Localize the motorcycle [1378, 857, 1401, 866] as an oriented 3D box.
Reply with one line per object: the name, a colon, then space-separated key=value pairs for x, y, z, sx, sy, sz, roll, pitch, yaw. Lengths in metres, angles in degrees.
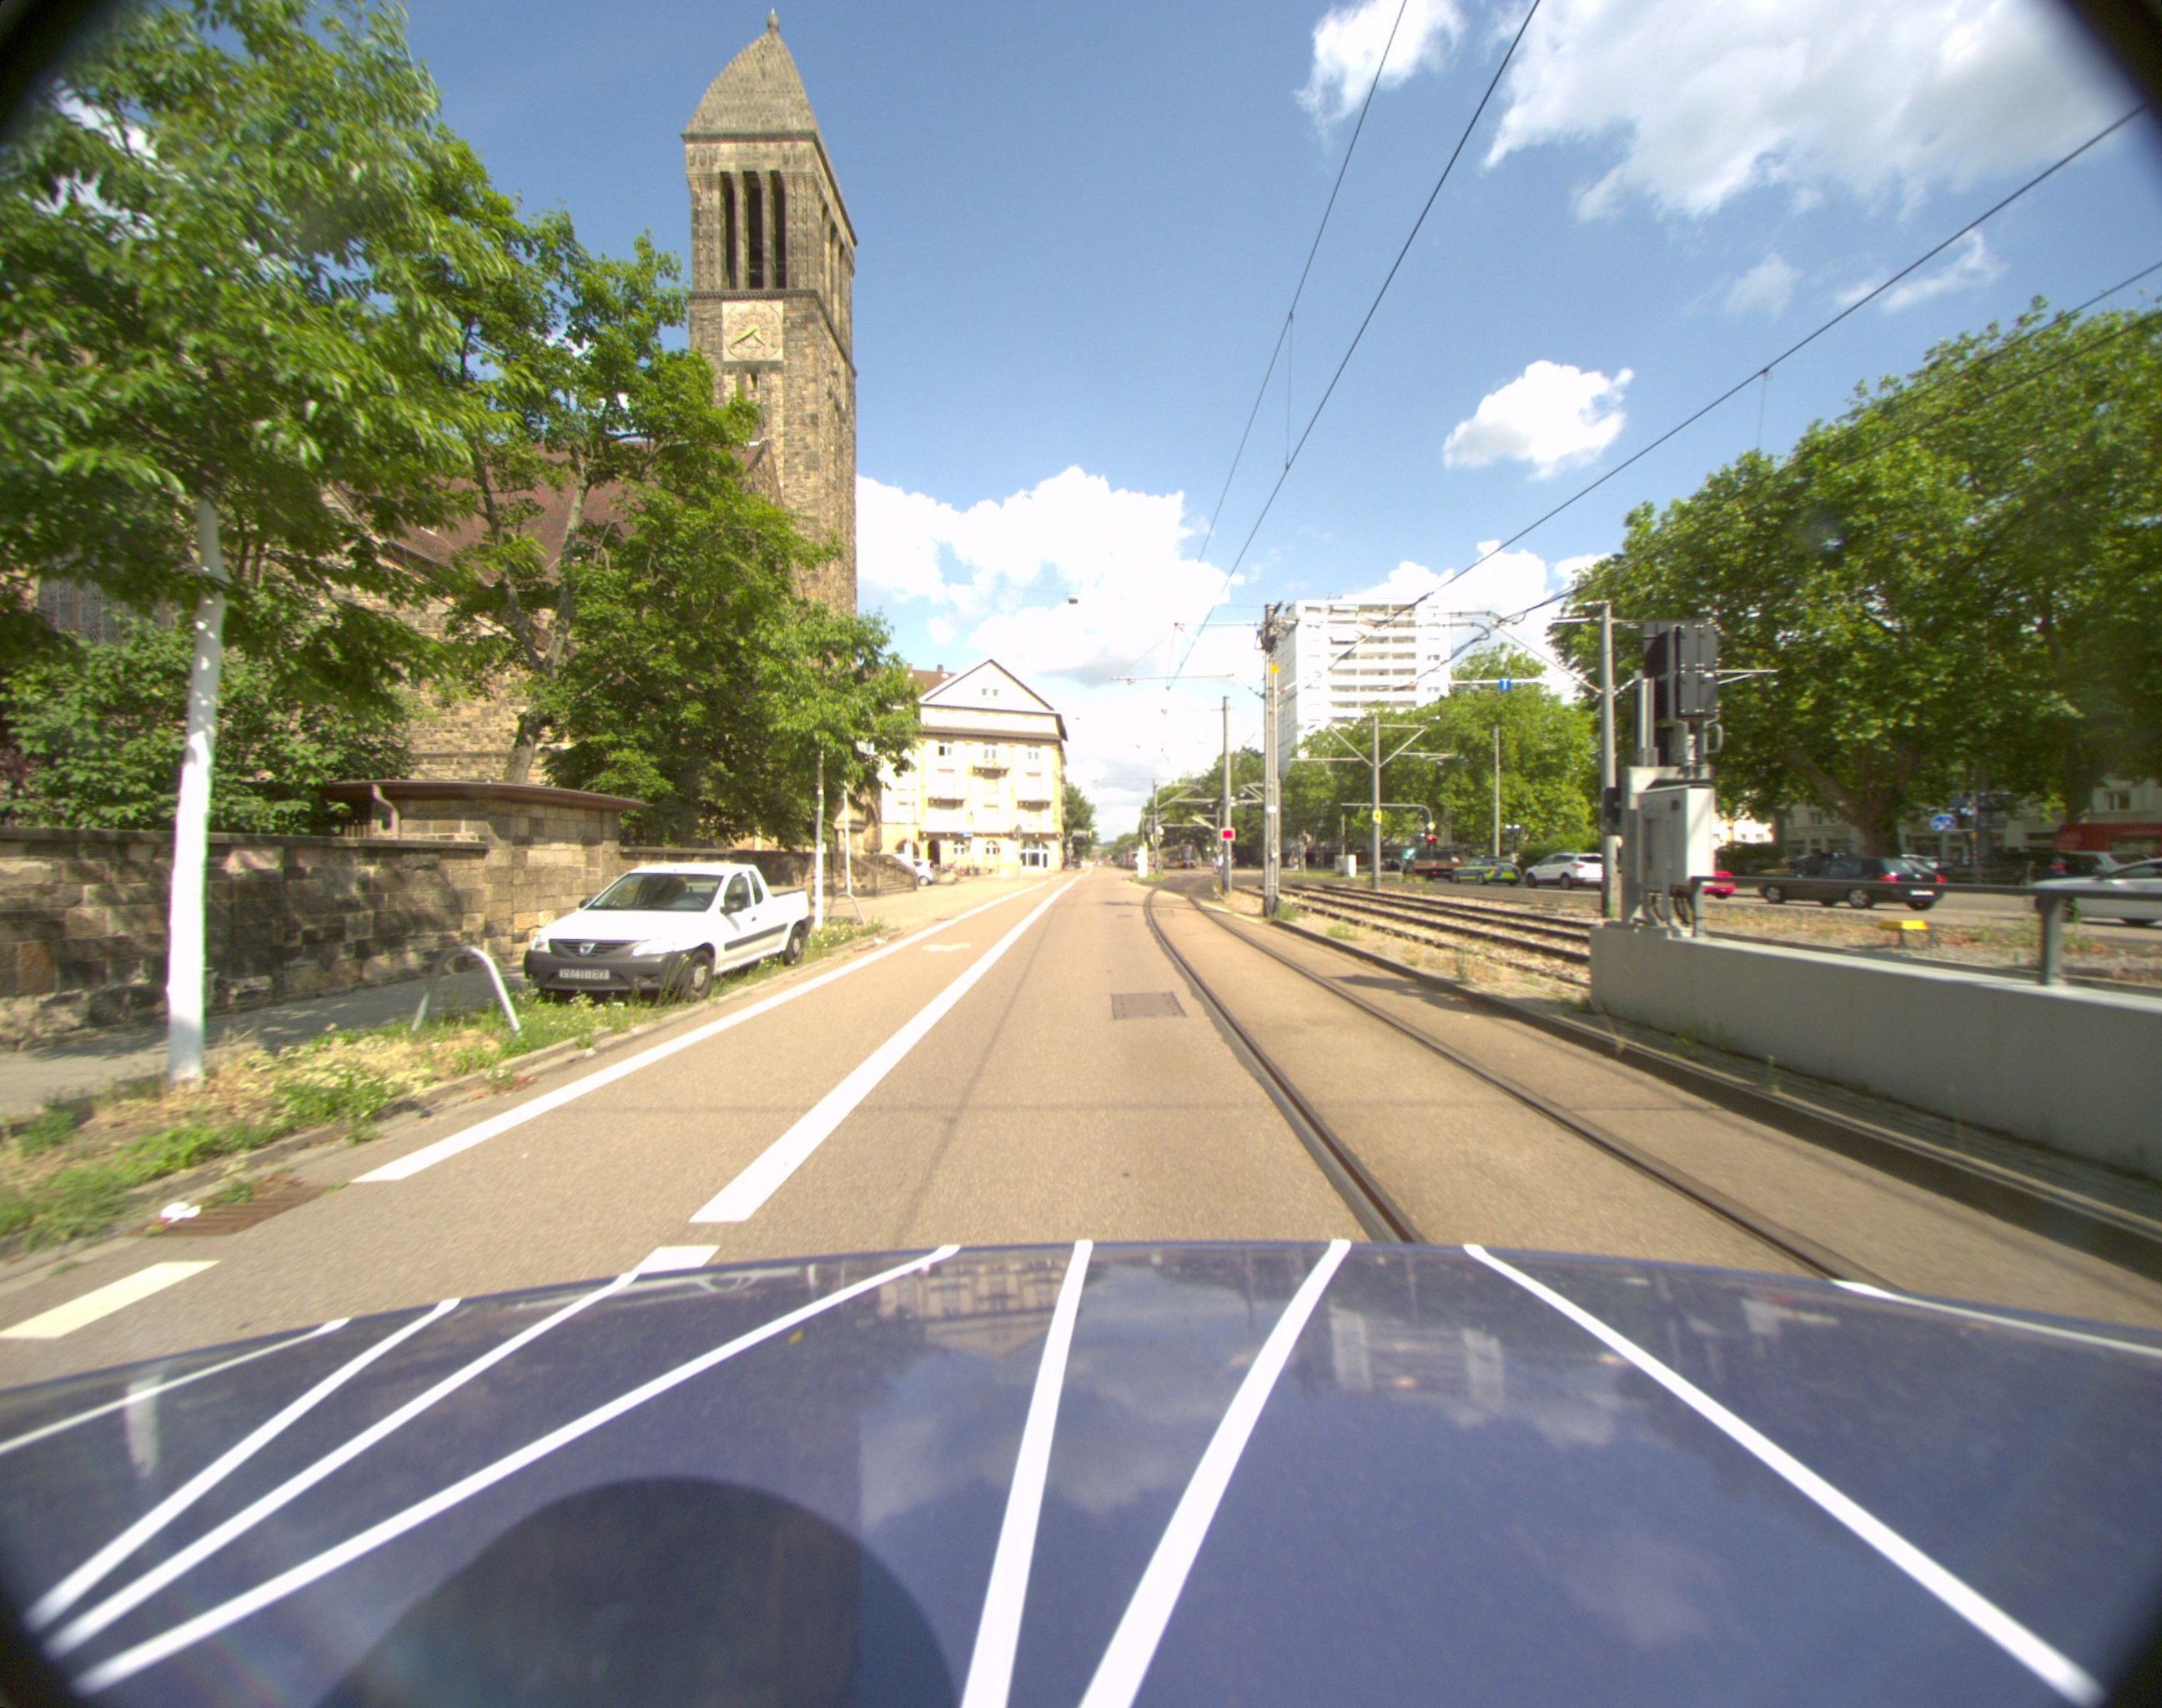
motorcycle: x=35.723 y=0.842 z=87.973 sx=2.506 sy=0.971 sz=0.698 roll=-1 pitch=0 yaw=-13

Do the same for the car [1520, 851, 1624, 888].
car: x=22.286 y=0.739 z=34.735 sx=1.764 sy=1.597 sz=4.681 roll=0 pitch=-2 yaw=1

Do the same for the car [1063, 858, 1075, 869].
car: x=-1.972 y=1.577 z=125.709 sx=1.851 sy=1.779 sz=4.000 roll=2 pitch=0 yaw=0

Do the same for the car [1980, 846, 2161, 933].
car: x=21.336 y=0.679 z=14.685 sx=1.952 sy=1.597 sz=5.075 roll=0 pitch=1 yaw=1

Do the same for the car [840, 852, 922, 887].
car: x=-11.007 y=0.852 z=42.035 sx=4.013 sy=1.813 sz=1.863 roll=-1 pitch=0 yaw=-1

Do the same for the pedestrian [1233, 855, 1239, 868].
pedestrian: x=20.141 y=0.922 z=98.990 sx=0.671 sy=1.693 sz=0.648 roll=-1 pitch=0 yaw=4

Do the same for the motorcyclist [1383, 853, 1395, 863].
motorcyclist: x=35.665 y=0.450 z=87.950 sx=0.978 sy=1.210 sz=0.698 roll=-1 pitch=0 yaw=-13

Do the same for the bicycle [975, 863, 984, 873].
bicycle: x=-10.610 y=1.452 z=79.204 sx=0.602 sy=1.013 sz=1.877 roll=0 pitch=2 yaw=2

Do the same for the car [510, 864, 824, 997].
car: x=-5.260 y=0.882 z=10.318 sx=1.671 sy=1.408 sz=3.847 roll=-2 pitch=-1 yaw=10

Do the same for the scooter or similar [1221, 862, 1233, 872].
scooter or similar: x=11.474 y=1.031 z=59.609 sx=0.840 sy=0.799 sz=0.553 roll=-1 pitch=0 yaw=-3

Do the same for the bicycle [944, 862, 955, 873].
bicycle: x=-13.523 y=1.418 z=78.175 sx=0.541 sy=1.013 sz=1.923 roll=-1 pitch=3 yaw=-28

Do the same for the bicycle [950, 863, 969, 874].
bicycle: x=-12.320 y=1.499 z=77.079 sx=1.932 sy=1.013 sz=0.538 roll=-1 pitch=3 yaw=-40

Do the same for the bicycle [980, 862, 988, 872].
bicycle: x=-10.335 y=1.390 z=80.821 sx=0.610 sy=1.013 sz=1.874 roll=0 pitch=2 yaw=-15

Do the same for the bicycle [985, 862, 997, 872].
bicycle: x=-9.587 y=1.389 z=81.075 sx=0.611 sy=1.013 sz=1.872 roll=-1 pitch=2 yaw=-27

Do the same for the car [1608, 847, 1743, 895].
car: x=21.555 y=0.642 z=27.784 sx=1.716 sy=1.597 sz=4.145 roll=0 pitch=-2 yaw=1

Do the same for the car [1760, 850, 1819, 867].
car: x=69.214 y=0.444 z=74.235 sx=4.081 sy=1.650 sz=1.851 roll=-1 pitch=0 yaw=-2

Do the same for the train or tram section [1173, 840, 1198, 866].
train or tram section: x=15.309 y=-0.147 z=111.786 sx=2.802 sy=3.540 sz=11.380 roll=-1 pitch=0 yaw=3

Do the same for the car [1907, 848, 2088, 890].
car: x=33.098 y=0.517 z=27.635 sx=1.756 sy=1.402 sz=4.000 roll=0 pitch=0 yaw=0

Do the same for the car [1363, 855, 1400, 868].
car: x=37.948 y=0.940 z=95.993 sx=4.002 sy=1.481 sz=1.858 roll=0 pitch=0 yaw=-16

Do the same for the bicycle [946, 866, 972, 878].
bicycle: x=-10.669 y=1.565 z=66.255 sx=2.137 sy=0.983 sz=0.651 roll=0 pitch=0 yaw=-28

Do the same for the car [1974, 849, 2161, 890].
car: x=35.830 y=0.534 z=27.727 sx=1.756 sy=1.402 sz=4.000 roll=0 pitch=0 yaw=0

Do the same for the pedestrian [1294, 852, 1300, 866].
pedestrian: x=27.957 y=0.655 z=98.349 sx=0.671 sy=1.693 sz=0.648 roll=-1 pitch=0 yaw=4

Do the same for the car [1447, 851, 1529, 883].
car: x=22.479 y=0.685 z=42.225 sx=1.871 sy=1.642 sz=5.154 roll=1 pitch=0 yaw=1

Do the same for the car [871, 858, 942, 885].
car: x=-10.363 y=1.010 z=45.357 sx=3.776 sy=1.538 sz=1.798 roll=-1 pitch=0 yaw=0

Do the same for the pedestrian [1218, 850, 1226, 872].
pedestrian: x=11.052 y=0.541 z=59.581 sx=0.528 sy=1.722 sz=0.557 roll=0 pitch=0 yaw=-4

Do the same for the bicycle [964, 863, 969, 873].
bicycle: x=-11.904 y=1.446 z=78.877 sx=0.540 sy=1.013 sz=1.926 roll=0 pitch=2 yaw=-10

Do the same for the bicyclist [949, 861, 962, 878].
bicyclist: x=-10.924 y=1.364 z=66.111 sx=0.923 sy=1.494 sz=0.651 roll=-1 pitch=-2 yaw=-28

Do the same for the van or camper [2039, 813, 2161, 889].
van or camper: x=38.665 y=-0.067 z=27.164 sx=2.107 sy=2.626 sz=5.350 roll=2 pitch=0 yaw=3

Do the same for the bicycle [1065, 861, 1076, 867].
bicycle: x=-1.642 y=1.551 z=118.216 sx=1.693 sy=0.980 sz=0.497 roll=-1 pitch=0 yaw=-2

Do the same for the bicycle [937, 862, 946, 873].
bicycle: x=-14.453 y=1.408 z=78.731 sx=0.541 sy=1.013 sz=1.924 roll=-1 pitch=2 yaw=-24

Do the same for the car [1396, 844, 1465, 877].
car: x=22.547 y=0.482 z=49.315 sx=2.080 sy=1.974 sz=5.337 roll=0 pitch=-2 yaw=1

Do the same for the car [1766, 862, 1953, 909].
car: x=21.600 y=0.824 z=21.307 sx=1.620 sy=1.182 sz=3.634 roll=-1 pitch=0 yaw=3

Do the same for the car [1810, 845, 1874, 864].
car: x=69.332 y=0.071 z=69.249 sx=3.998 sy=1.674 sz=1.999 roll=-1 pitch=0 yaw=-4

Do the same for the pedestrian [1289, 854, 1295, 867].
pedestrian: x=27.861 y=0.854 z=100.391 sx=0.671 sy=1.693 sz=0.648 roll=-1 pitch=0 yaw=4

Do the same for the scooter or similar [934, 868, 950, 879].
scooter or similar: x=-11.892 y=1.656 z=65.026 sx=1.133 sy=0.971 sz=0.888 roll=-1 pitch=0 yaw=-28

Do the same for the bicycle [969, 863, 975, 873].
bicycle: x=-11.395 y=1.433 z=79.207 sx=0.540 sy=1.013 sz=1.926 roll=0 pitch=2 yaw=-10
